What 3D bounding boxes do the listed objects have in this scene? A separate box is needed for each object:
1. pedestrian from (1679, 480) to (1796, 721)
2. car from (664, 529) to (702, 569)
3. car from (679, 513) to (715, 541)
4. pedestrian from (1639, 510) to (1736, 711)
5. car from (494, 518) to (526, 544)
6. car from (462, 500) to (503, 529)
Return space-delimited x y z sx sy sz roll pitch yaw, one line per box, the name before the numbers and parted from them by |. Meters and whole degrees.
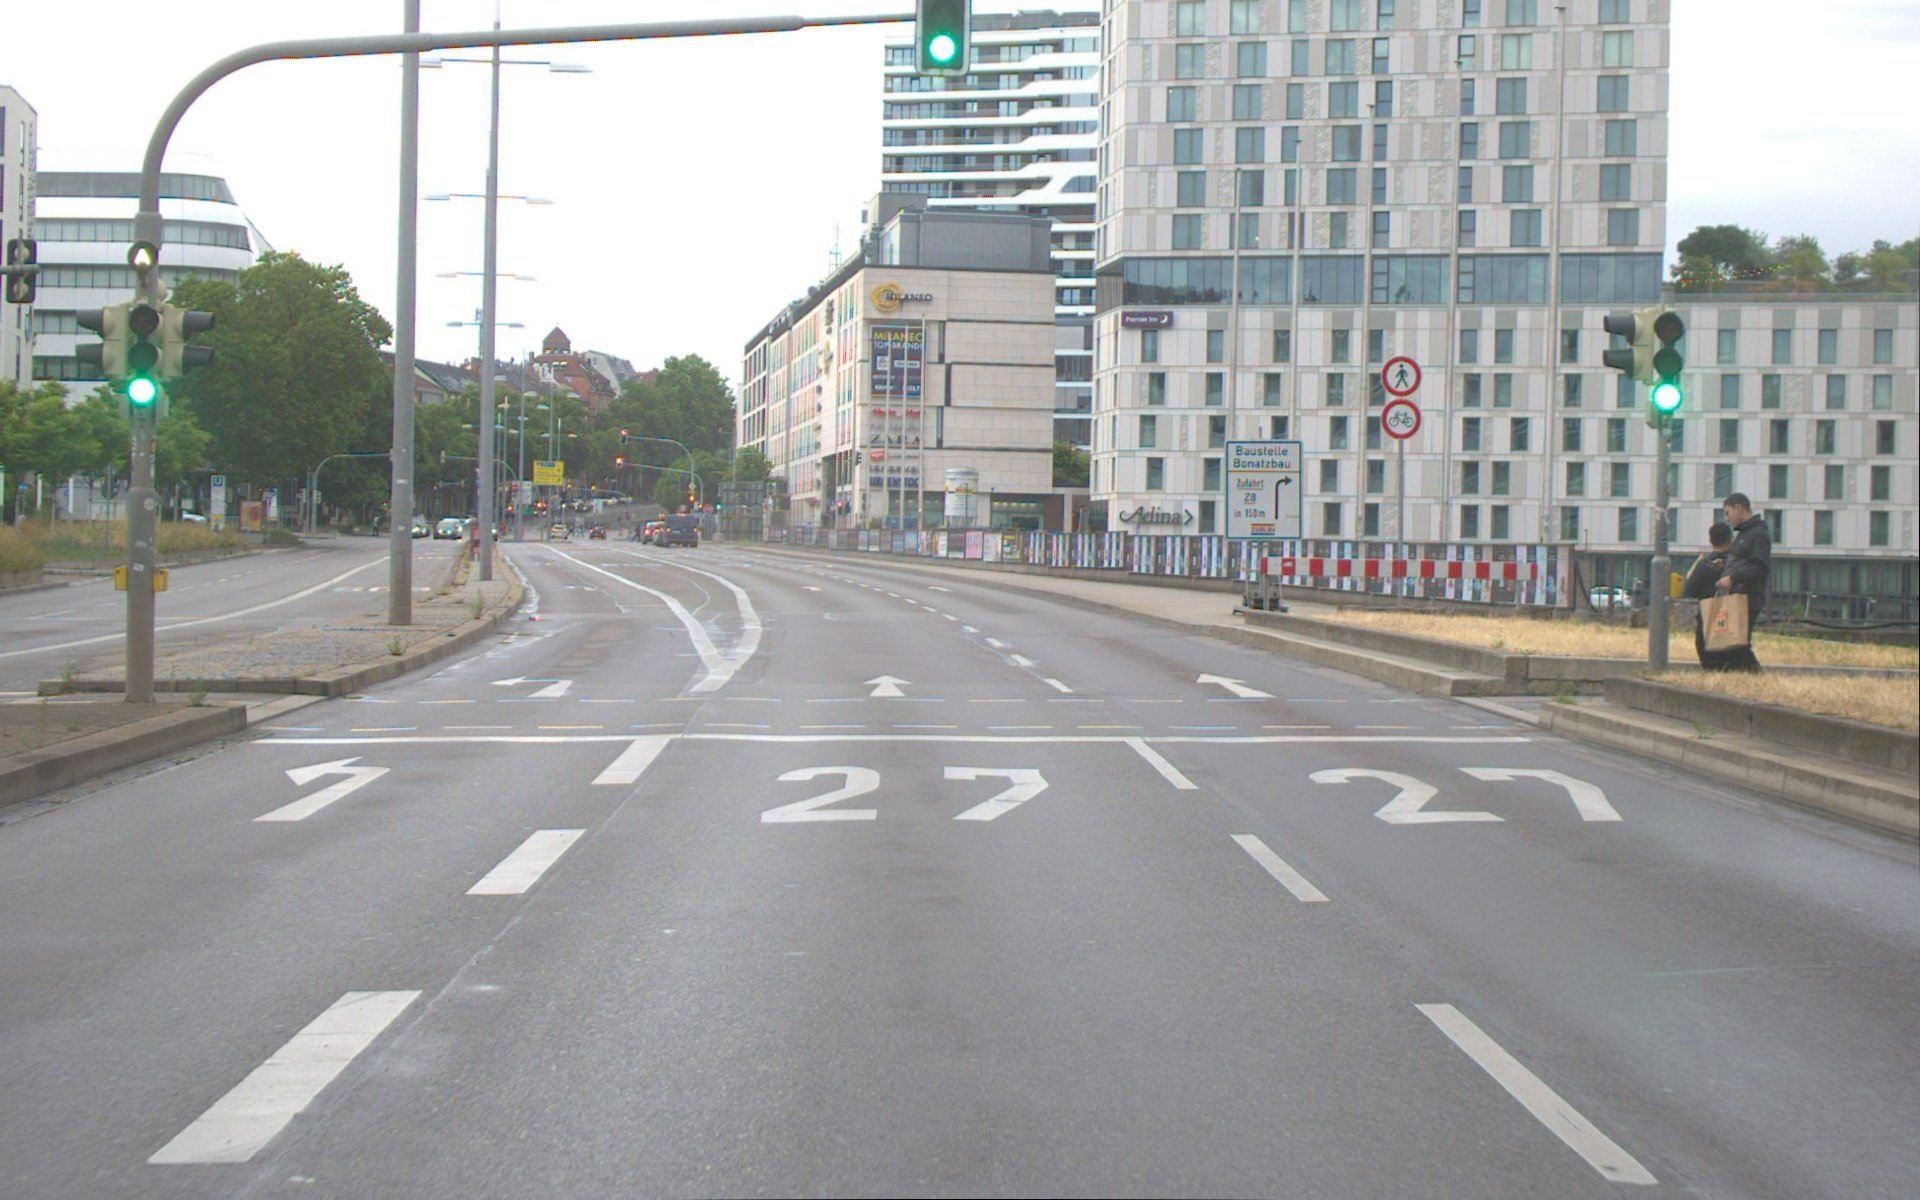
pedestrian | 6.059 -0.009 26.791 0.781 1.835 0.551 -3 4 -45
car | -16.432 -3.027 204.027 1.993 2.335 4.001 1 1 -2
car | -17.799 -4.940 232.813 1.993 1.809 4.000 0 3 2
pedestrian | 5.867 0.073 27.714 0.550 1.572 0.669 1 3 33
car | -33.974 -5.223 259.648 1.993 1.776 4.001 0 3 -2
car | -31.445 -5.660 226.431 1.993 1.809 4.000 0 3 2
